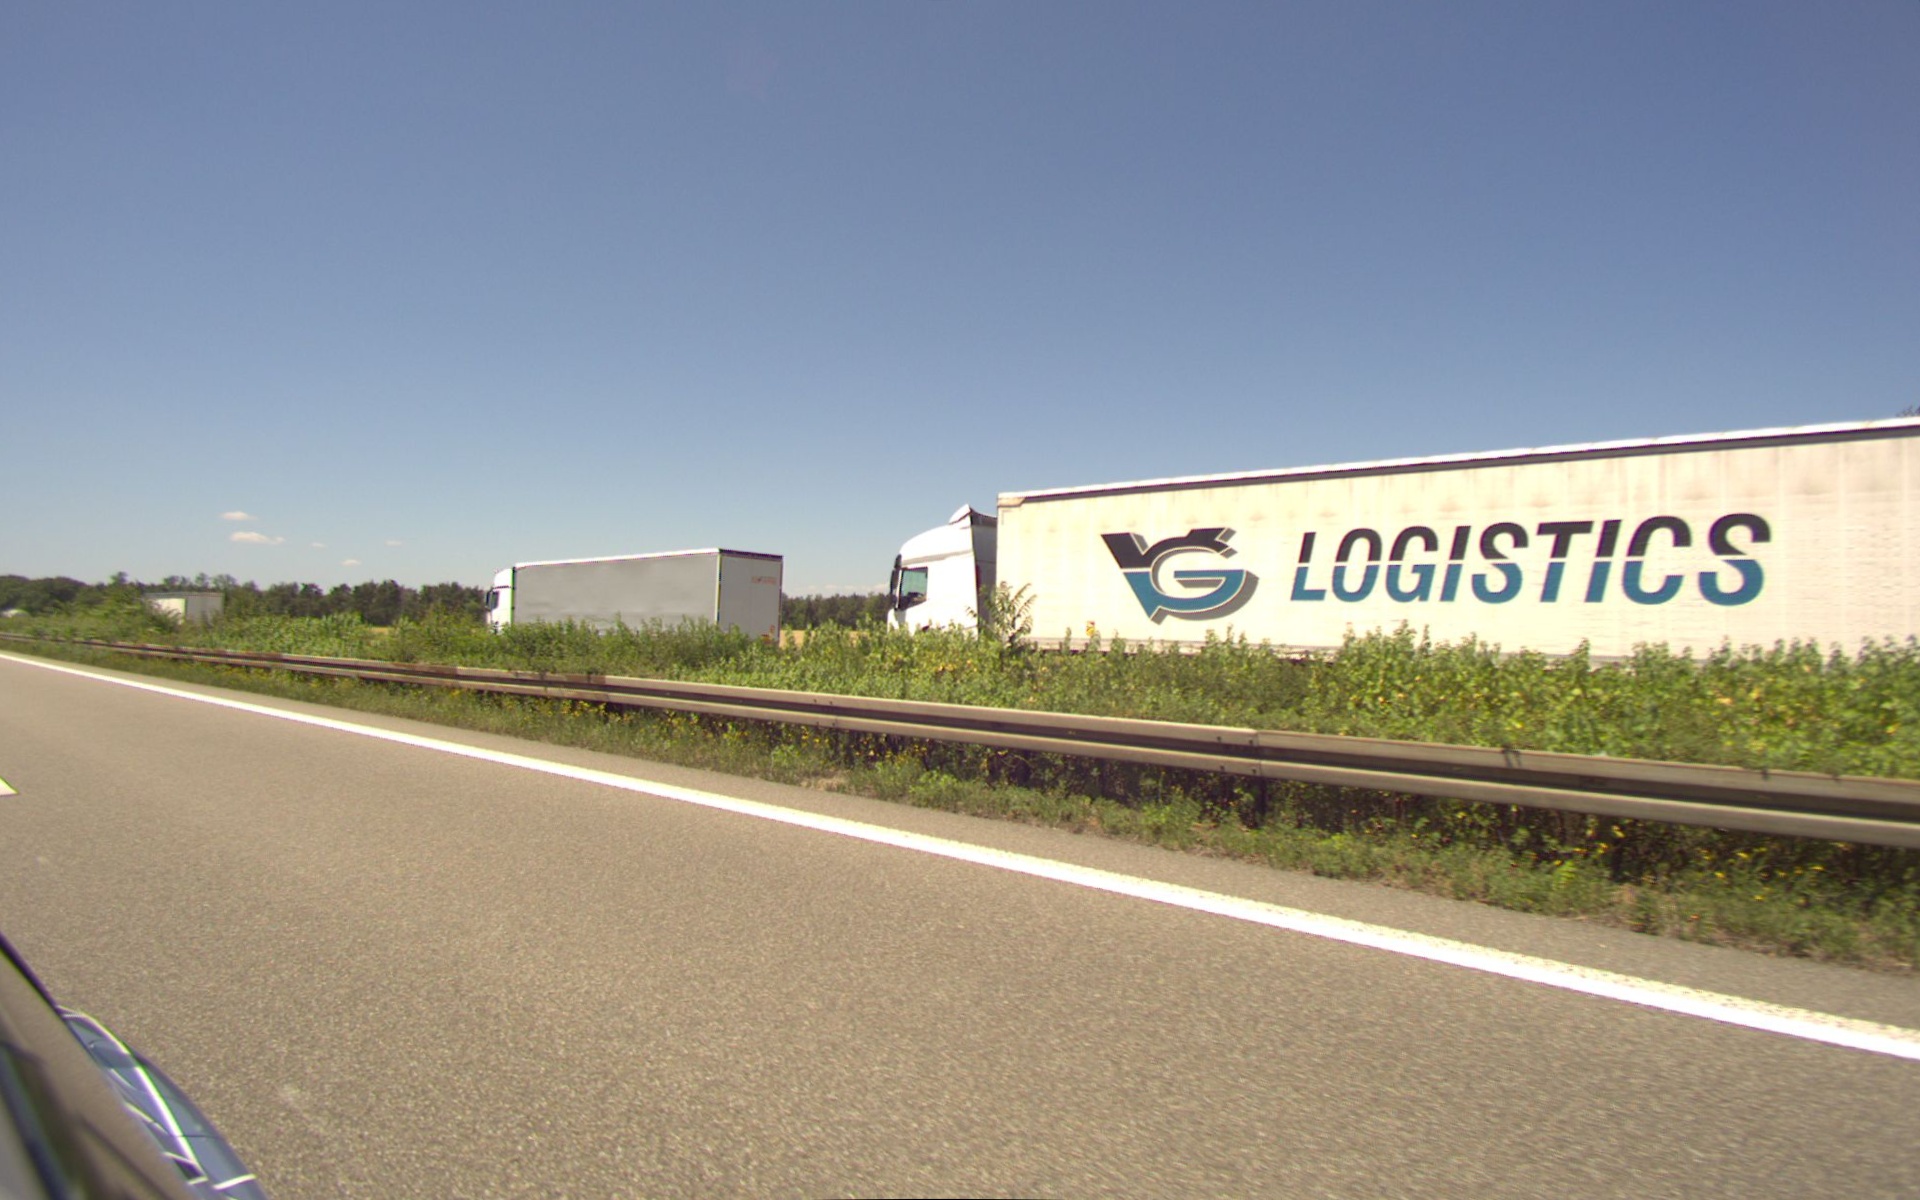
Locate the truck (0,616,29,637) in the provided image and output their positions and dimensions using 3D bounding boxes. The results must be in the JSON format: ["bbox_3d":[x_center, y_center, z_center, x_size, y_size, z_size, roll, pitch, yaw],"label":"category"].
[{"bbox_3d":[-148.916,4.137,159.037,13.115,3.147,2.542,-1,0,42],"label":"truck"}]

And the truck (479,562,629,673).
[{"bbox_3d":[-16.352,0.657,40.573,6.536,4.093,2.921,-1,0,41],"label":"truck"}]

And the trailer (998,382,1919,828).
[{"bbox_3d":[6.830,0.100,14.849,13.860,4.560,2.792,-1,0,42],"label":"trailer"}]

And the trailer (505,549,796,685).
[{"bbox_3d":[-11.654,0.588,36.411,14.319,4.089,2.924,-1,0,42],"label":"trailer"}]

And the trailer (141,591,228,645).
[{"bbox_3d":[-63.466,1.430,82.606,13.950,4.089,3.026,-1,0,42],"label":"trailer"}]

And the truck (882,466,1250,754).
[{"bbox_3d":[1.823,0.181,19.283,6.536,4.560,2.792,-1,0,41],"label":"truck"}]
